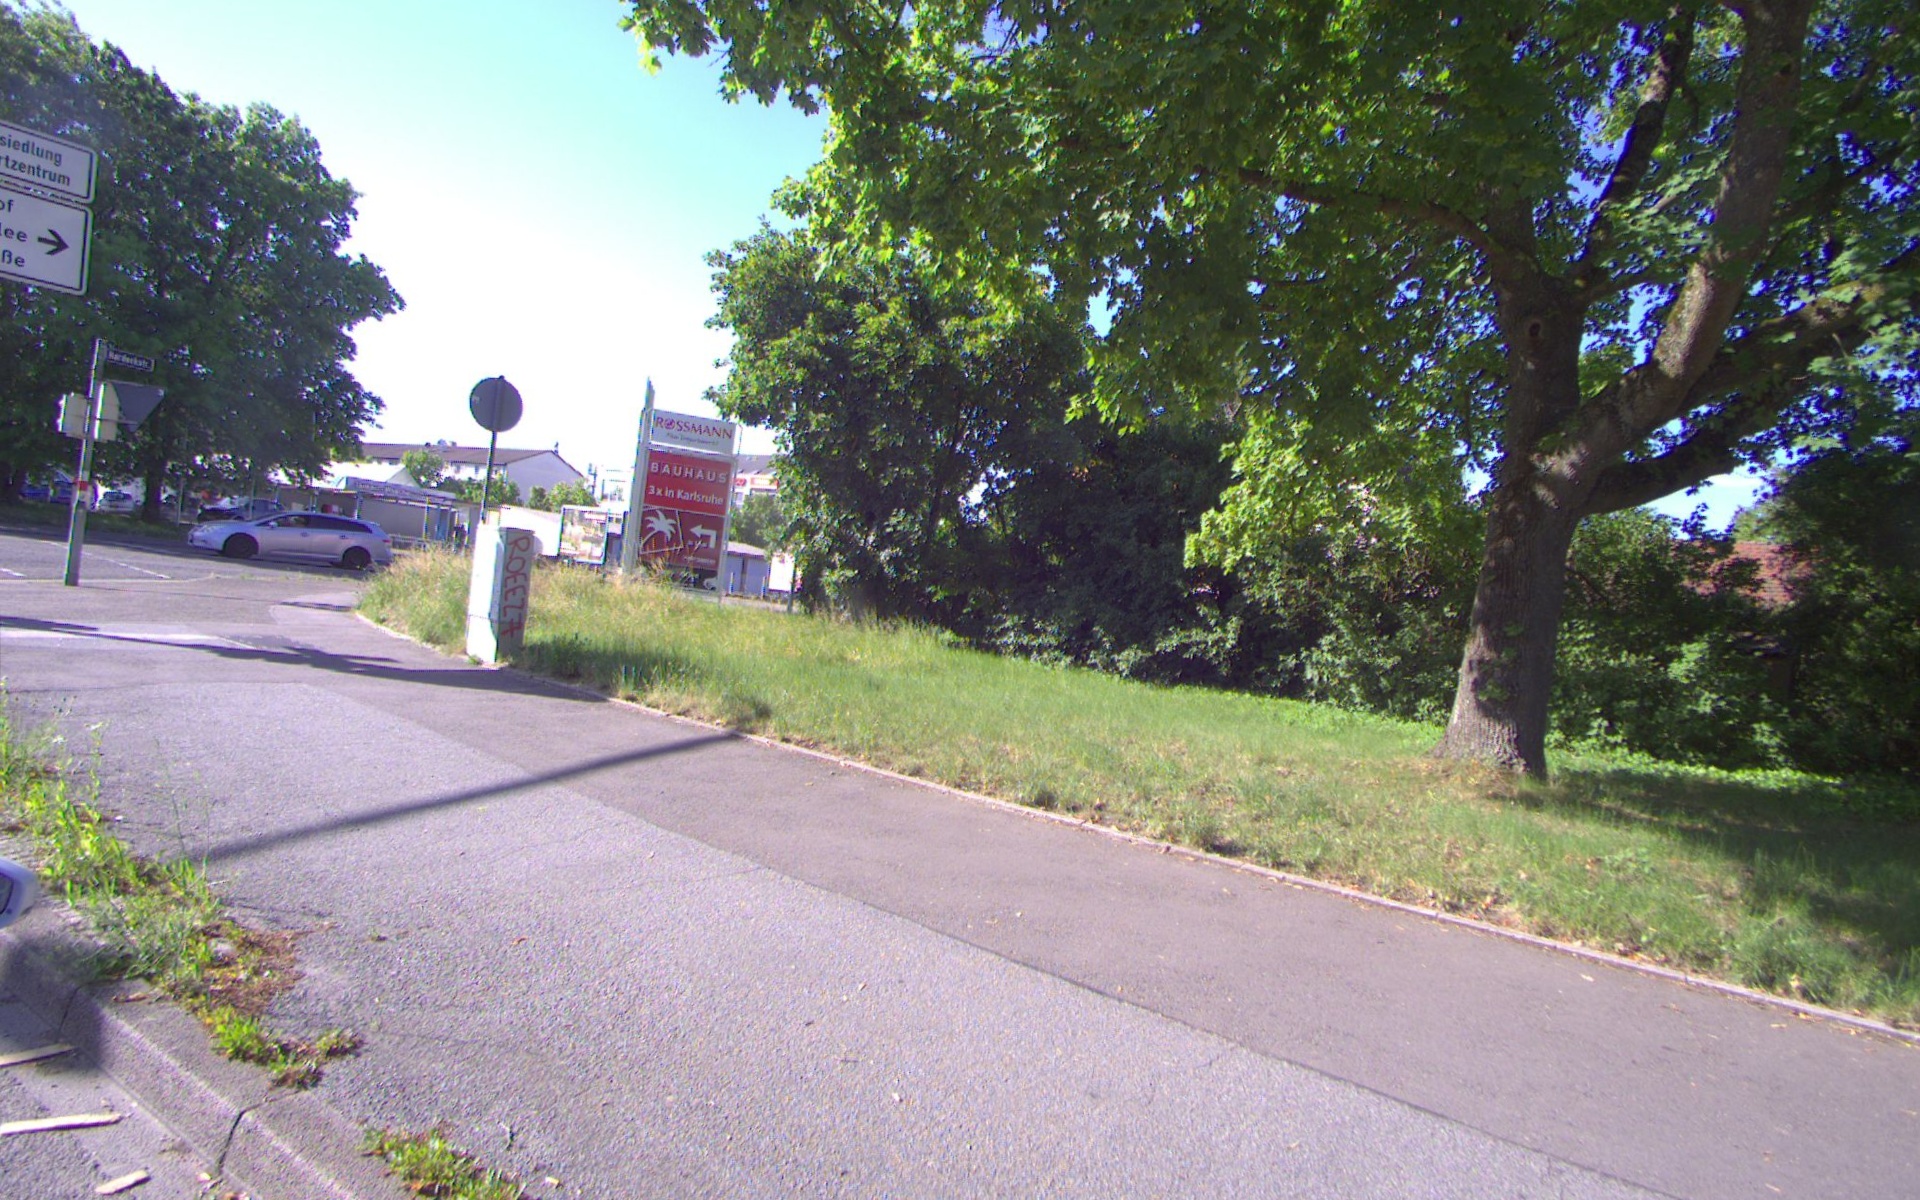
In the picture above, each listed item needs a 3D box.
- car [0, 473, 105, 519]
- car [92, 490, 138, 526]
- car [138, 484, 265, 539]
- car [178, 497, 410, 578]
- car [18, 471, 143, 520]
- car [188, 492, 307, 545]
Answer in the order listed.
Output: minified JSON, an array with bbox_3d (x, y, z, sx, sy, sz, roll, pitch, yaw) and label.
[{"bbox_3d":[-41.987,-4.770,46.154,1.712,1.537,3.902,7,0,9],"label":"car"},{"bbox_3d":[-47.284,-5.153,56.263,1.734,1.701,3.951,6,1,-43],"label":"car"},{"bbox_3d":[-32.330,-3.734,43.043,1.962,1.772,4.001,7,0,9],"label":"car"},{"bbox_3d":[-18.324,-1.696,27.873,1.973,1.504,4.994,7,0,43],"label":"car"},{"bbox_3d":[-39.176,-4.629,44.930,1.712,1.537,3.902,7,0,9],"label":"car"},{"bbox_3d":[-30.293,-3.429,42.915,1.712,1.701,4.001,7,0,9],"label":"car"}]
